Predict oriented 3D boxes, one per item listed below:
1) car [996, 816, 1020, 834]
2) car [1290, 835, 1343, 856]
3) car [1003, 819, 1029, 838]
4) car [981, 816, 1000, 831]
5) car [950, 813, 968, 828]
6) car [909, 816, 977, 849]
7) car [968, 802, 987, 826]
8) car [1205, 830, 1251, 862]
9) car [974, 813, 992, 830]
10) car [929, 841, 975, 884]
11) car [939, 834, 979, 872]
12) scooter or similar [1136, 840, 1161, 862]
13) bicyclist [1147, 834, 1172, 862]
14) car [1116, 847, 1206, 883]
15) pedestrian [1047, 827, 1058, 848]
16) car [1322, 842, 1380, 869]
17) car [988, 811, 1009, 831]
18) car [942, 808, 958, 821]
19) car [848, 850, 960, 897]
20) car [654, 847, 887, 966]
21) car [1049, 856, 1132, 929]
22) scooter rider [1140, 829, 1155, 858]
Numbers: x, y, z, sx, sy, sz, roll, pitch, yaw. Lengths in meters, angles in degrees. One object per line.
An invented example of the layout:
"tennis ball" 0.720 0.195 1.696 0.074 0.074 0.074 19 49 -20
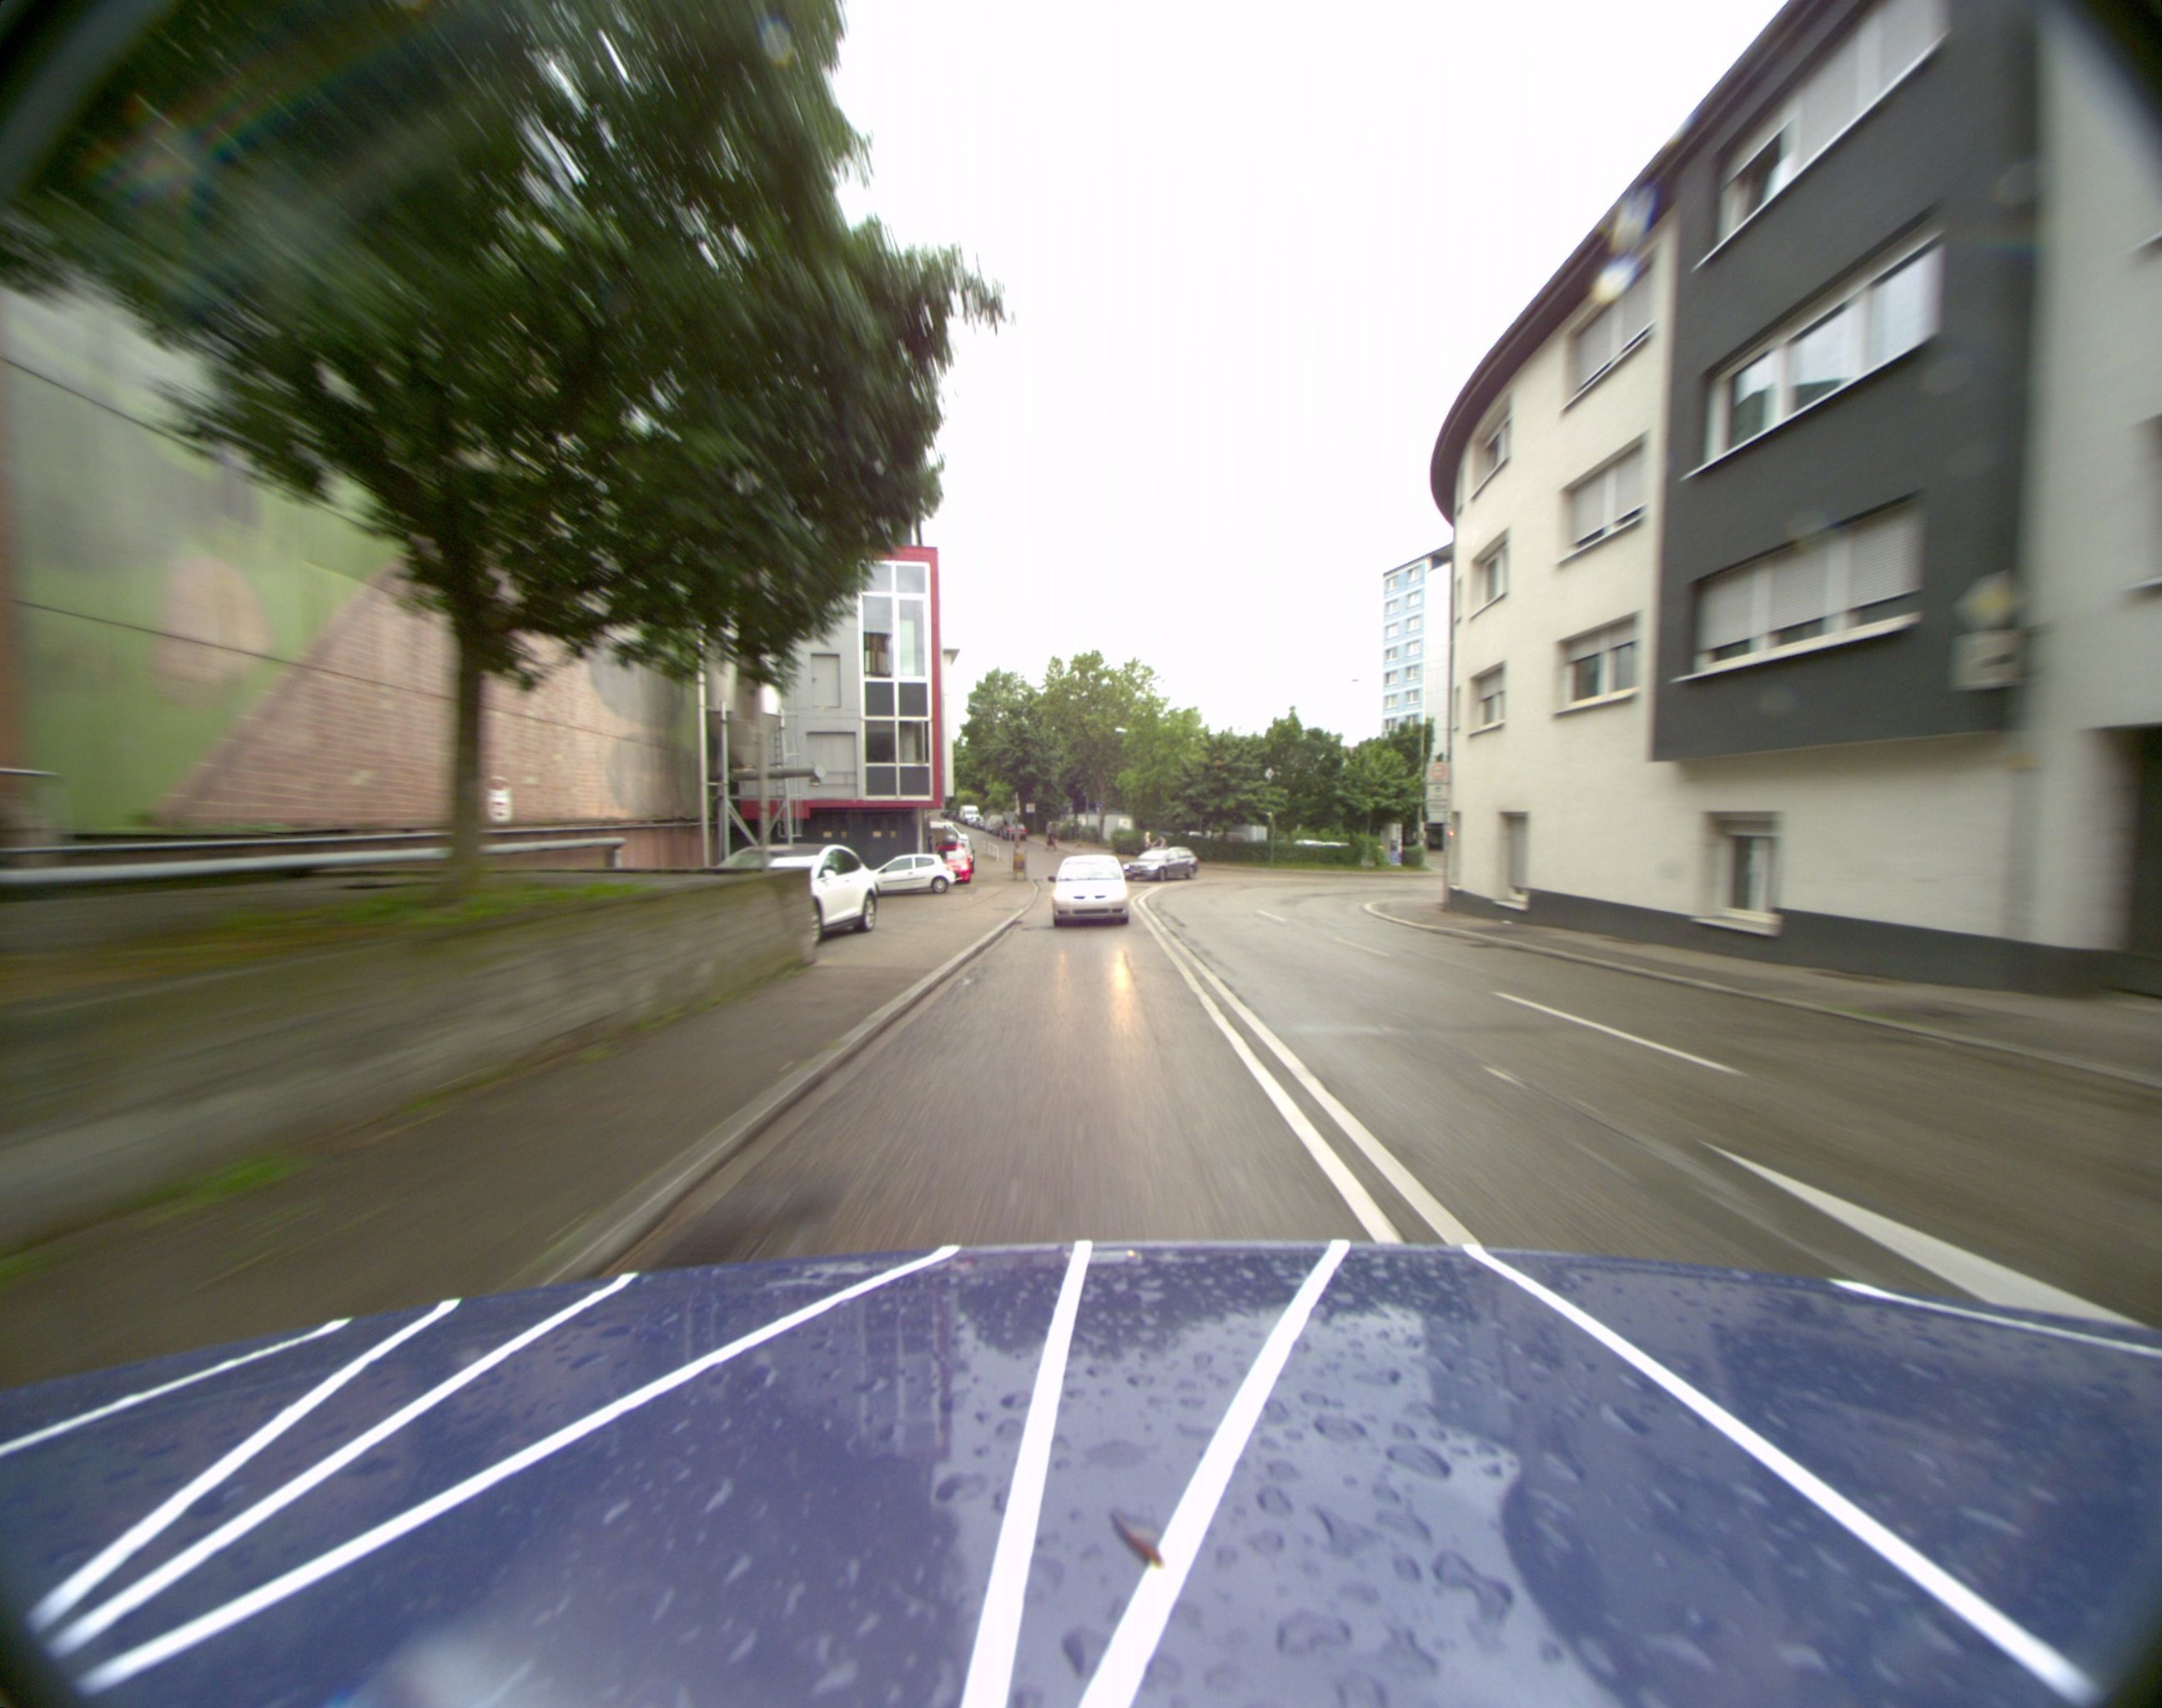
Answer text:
"car" -7.662 -3.055 79.245 1.910 1.642 3.992 0 4 -13
"car" 20.106 -0.708 64.865 4.004 1.502 1.796 3 2 -19
"car" -6.240 -2.457 72.826 1.910 1.642 3.992 0 4 -13
"car" -11.053 -3.728 92.702 1.910 1.642 3.992 0 4 -13
"car" -18.484 -5.087 115.059 1.911 2.024 3.990 0 4 -20
"car" -10.419 -1.631 57.553 4.891 2.200 1.881 2 5 -5
"car" -14.530 -5.675 106.548 2.224 3.265 5.070 0 4 -13
"car" 10.305 -0.604 53.537 1.638 1.949 4.206 3 2 -11
"car" -12.811 -4.215 98.898 1.910 2.024 3.992 0 4 -13
"car" -5.873 0.314 34.842 1.933 1.702 4.486 1 3 -8
"car" -6.492 -0.094 40.611 1.933 1.702 3.994 2 4 -9
"scooter or similar" 4.220 -0.188 47.411 1.408 1.316 0.804 1 4 -3
"bicyclist" 4.385 -0.349 42.458 0.970 1.481 0.886 1 3 -29
"car" 3.746 0.458 34.910 1.682 1.496 4.511 3 3 43
"pedestrian" -2.156 -1.251 57.899 0.704 1.559 0.621 0 5 -11
"car" 19.915 0.081 56.265 1.639 1.612 4.202 3 2 -21
"car" -9.344 -3.760 86.180 1.910 2.064 3.992 0 4 -13
"car" -21.292 -6.445 123.437 1.911 1.931 3.990 0 4 -20
"car" -6.723 0.739 29.080 3.994 1.524 1.872 3 2 -12
"car" -4.894 0.740 12.891 1.857 1.608 4.916 1 0 1
"car" 0.135 0.868 18.823 1.687 1.496 3.836 -2 1 -4
"scooter rider" 4.156 -0.656 47.376 0.781 1.811 0.804 1 4 -3
